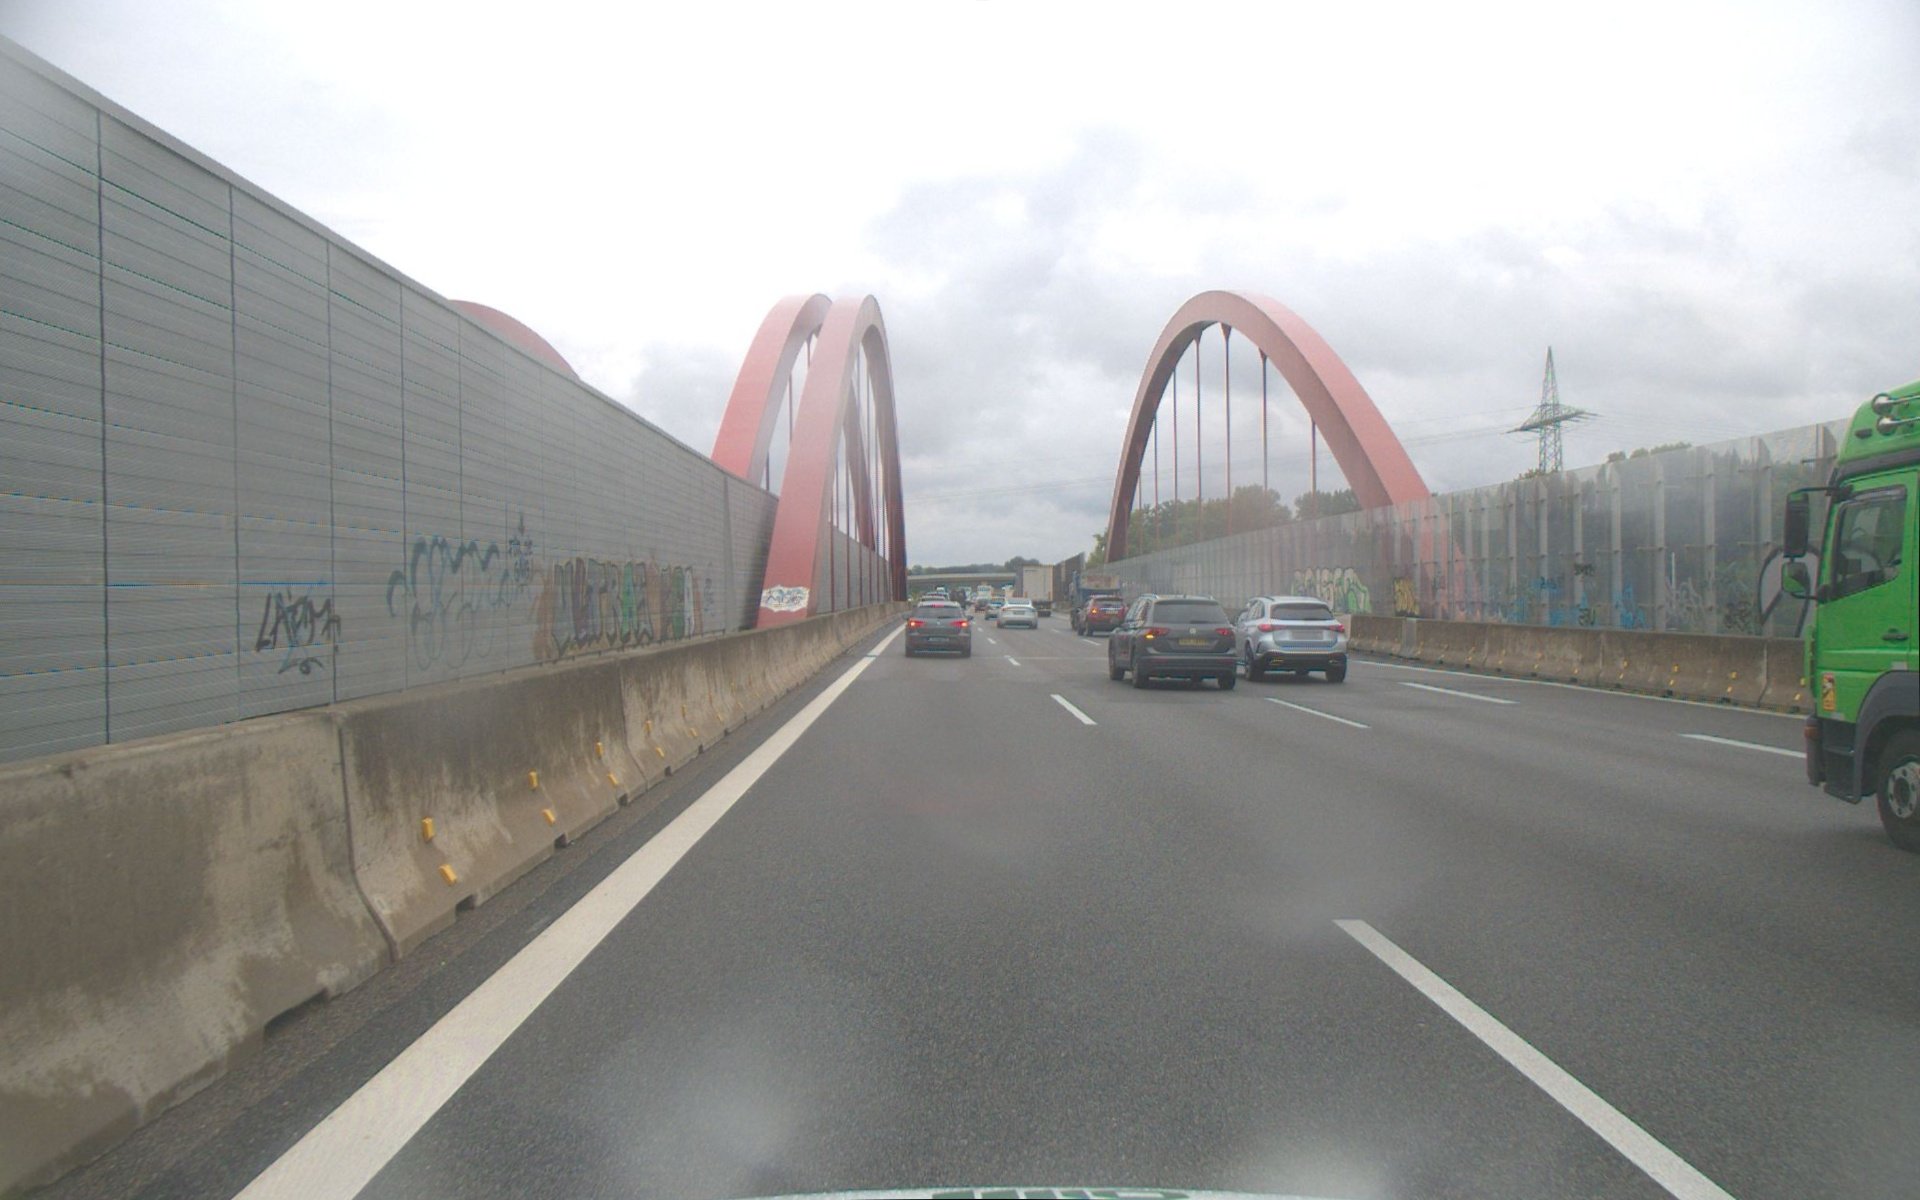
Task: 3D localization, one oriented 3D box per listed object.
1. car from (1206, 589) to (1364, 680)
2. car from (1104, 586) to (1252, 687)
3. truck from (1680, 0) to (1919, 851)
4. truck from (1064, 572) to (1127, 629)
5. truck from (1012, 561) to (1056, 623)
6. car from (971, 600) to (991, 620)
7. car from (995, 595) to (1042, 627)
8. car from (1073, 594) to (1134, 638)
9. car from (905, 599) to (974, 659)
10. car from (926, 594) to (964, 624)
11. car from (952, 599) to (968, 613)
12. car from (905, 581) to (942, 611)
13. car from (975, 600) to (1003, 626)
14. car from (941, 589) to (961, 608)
[{"bbox_3d":[6.420,0.637,33.268,1.953,1.647,5.326,1,0,-2],"label":"car"},{"bbox_3d":[3.880,0.619,30.050,1.874,1.699,4.100,0,0,-4],"label":"car"},{"bbox_3d":[7.764,-1.156,7.512,3.916,5.358,11.217,1,0,-1],"label":"truck"},{"bbox_3d":[6.330,0.022,77.979,2.313,2.550,6.142,1,0,-1],"label":"truck"},{"bbox_3d":[5.927,-0.653,133.621,2.983,4.817,7.678,1,0,-1],"label":"truck"},{"bbox_3d":[2.174,1.008,173.194,1.953,2.049,3.999,1,0,-1],"label":"car"},{"bbox_3d":[2.737,0.505,78.592,1.953,1.512,3.998,0,0,-2],"label":"car"},{"bbox_3d":[5.661,0.629,65.751,1.918,1.676,3.998,1,0,-2],"label":"car"},{"bbox_3d":[-0.533,0.736,43.618,1.728,1.478,3.999,1,0,-1],"label":"car"},{"bbox_3d":[-0.746,0.417,79.337,1.746,1.431,3.625,0,0,-2],"label":"car"},{"bbox_3d":[0.001,0.770,205.890,1.952,1.652,4.000,0,0,1],"label":"car"},{"bbox_3d":[-2.035,-0.231,91.946,1.953,1.612,3.998,-1,0,-2],"label":"car"},{"bbox_3d":[1.832,0.824,106.149,1.667,1.570,3.838,0,0,-1],"label":"car"},{"bbox_3d":[-0.931,-0.137,164.912,1.953,1.847,3.999,1,0,-1],"label":"car"}]
